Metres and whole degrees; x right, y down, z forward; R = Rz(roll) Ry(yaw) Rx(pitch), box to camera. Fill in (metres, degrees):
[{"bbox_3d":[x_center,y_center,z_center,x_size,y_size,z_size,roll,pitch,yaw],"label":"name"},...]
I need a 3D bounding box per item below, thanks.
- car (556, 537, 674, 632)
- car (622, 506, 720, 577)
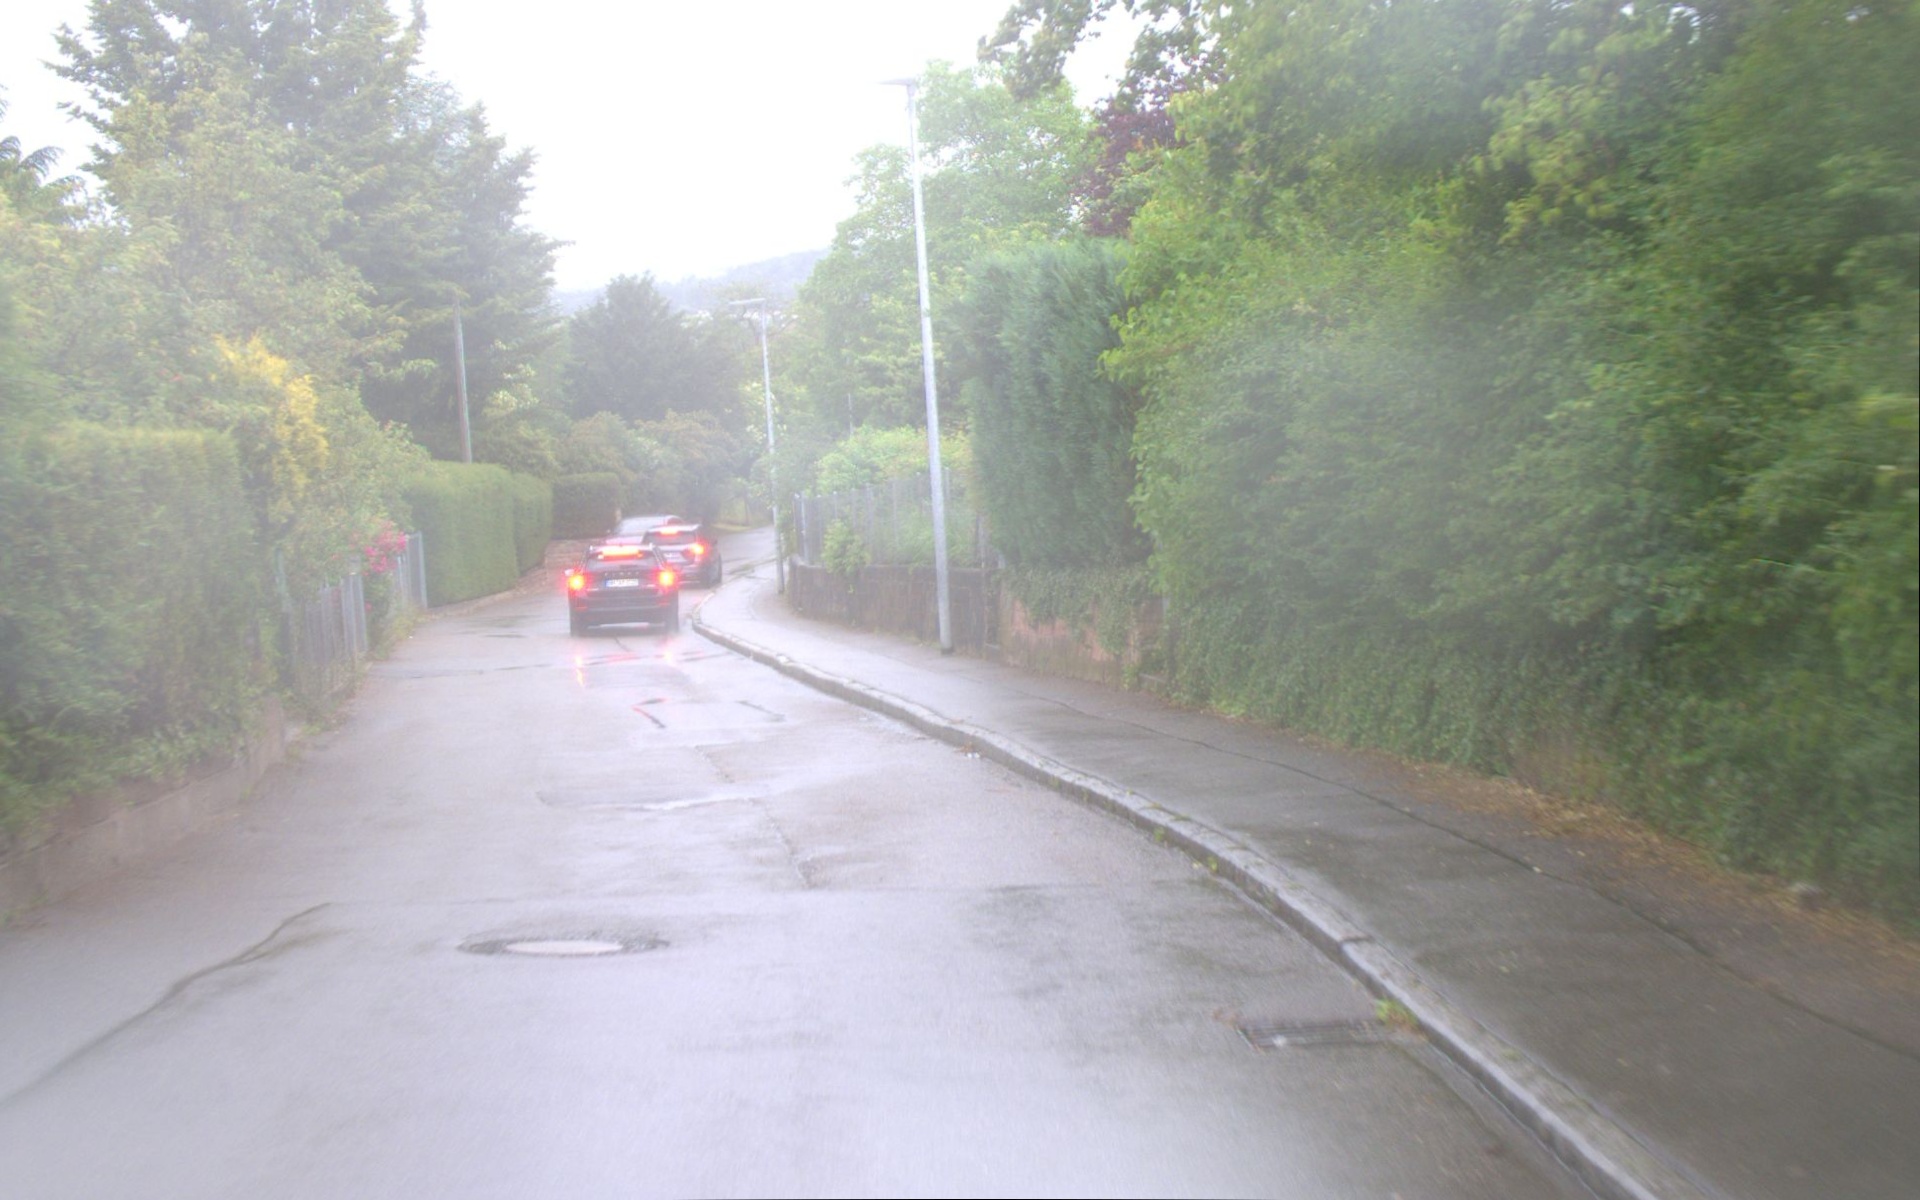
[{"bbox_3d":[-5.673,-0.278,56.463,1.834,1.459,4.001,-1,1,-6],"label":"car"},{"bbox_3d":[-6.992,-1.432,83.406,1.678,1.559,3.794,-1,3,6],"label":"car"}]
